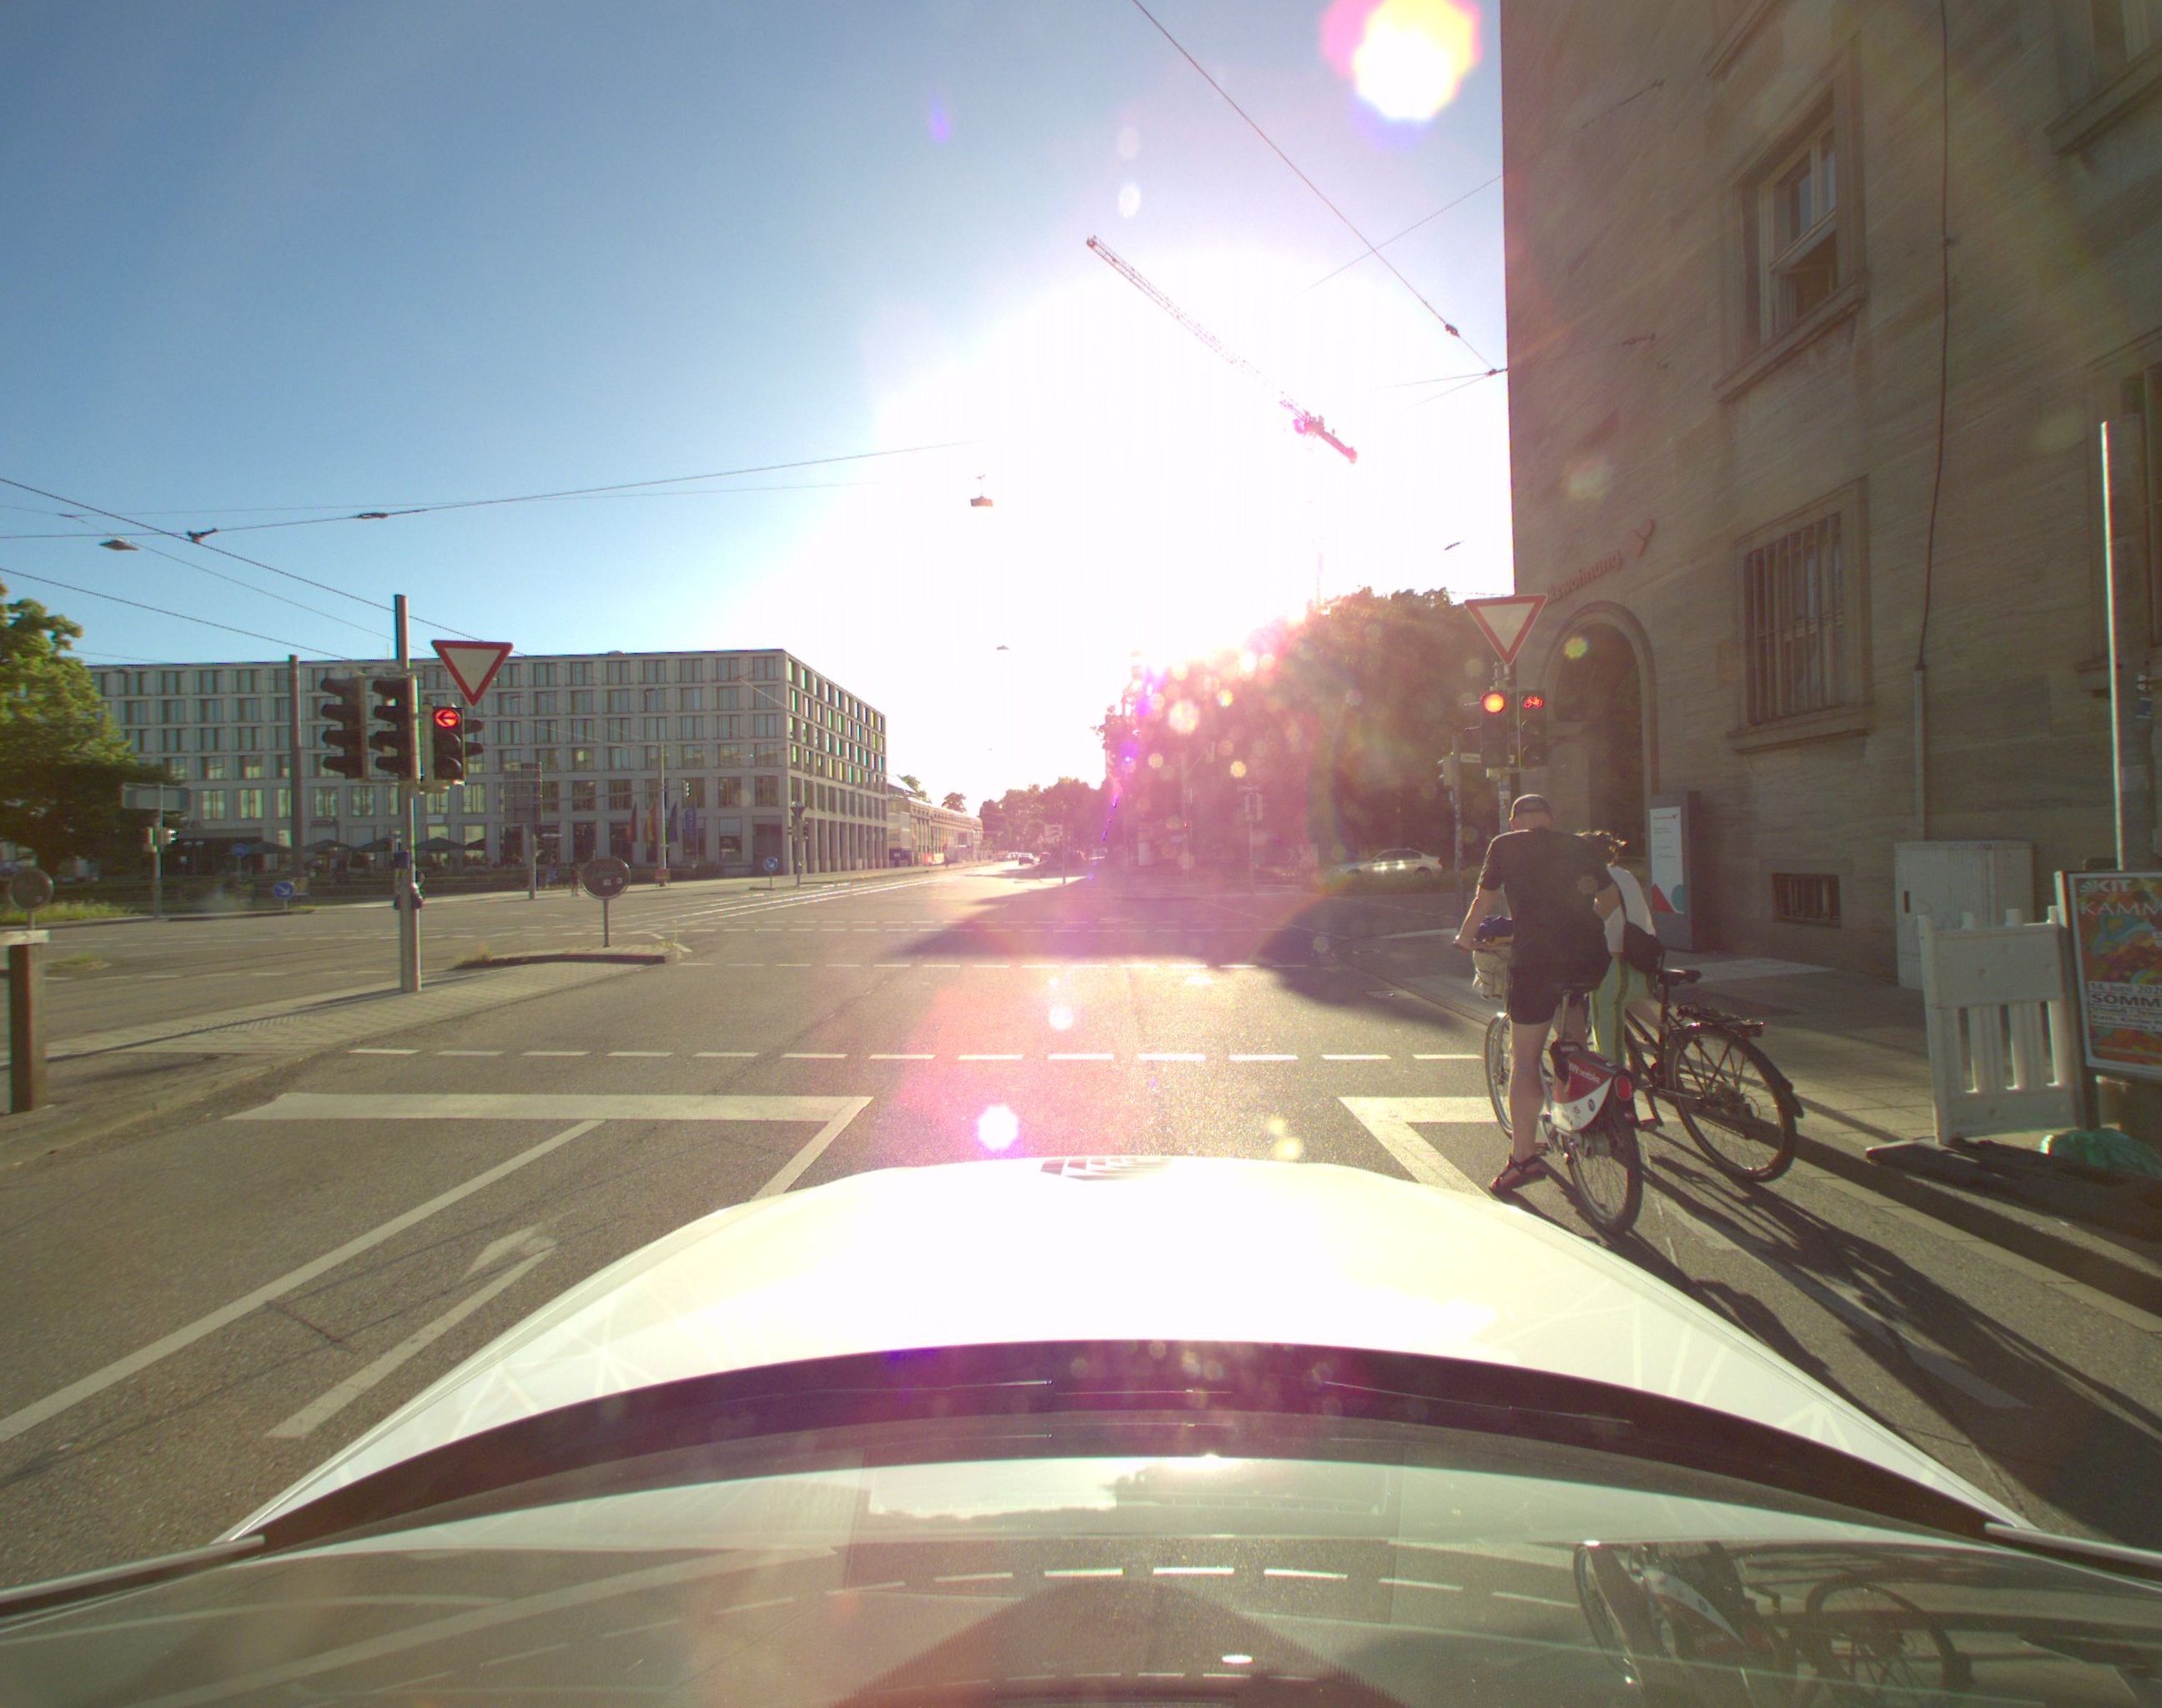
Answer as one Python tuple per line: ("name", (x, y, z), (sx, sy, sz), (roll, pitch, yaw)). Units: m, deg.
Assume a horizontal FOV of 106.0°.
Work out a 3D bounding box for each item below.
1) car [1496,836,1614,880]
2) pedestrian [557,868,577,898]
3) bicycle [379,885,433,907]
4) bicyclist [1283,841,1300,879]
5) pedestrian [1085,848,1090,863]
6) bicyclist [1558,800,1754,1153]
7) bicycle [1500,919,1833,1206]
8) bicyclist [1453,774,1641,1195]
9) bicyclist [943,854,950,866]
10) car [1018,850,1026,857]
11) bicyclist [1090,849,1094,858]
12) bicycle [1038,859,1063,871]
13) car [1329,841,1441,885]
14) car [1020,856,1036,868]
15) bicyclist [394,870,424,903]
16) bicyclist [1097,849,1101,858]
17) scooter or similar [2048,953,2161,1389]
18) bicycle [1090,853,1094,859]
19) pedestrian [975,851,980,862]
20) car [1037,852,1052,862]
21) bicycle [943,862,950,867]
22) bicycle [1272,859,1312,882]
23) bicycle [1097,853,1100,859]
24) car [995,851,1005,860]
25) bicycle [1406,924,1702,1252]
("car", (19.226, 0.156, 33.129), (3.835, 1.611, 1.650), (-2, 0, 1))
("pedestrian", (-28.761, 1.614, 45.565), (0.776, 1.589, 0.588), (-2, 0, -12))
("bicycle", (-32.757, 2.033, 39.550), (0.755, 0.935, 1.871), (-2, 0, 15))
("bicyclist", (9.381, 0.274, 36.345), (0.640, 1.683, 0.508), (-2, 0, 7))
("pedestrian", (0.755, 0.197, 97.841), (0.462, 1.813, 0.502), (-2, 0, -3))
("bicyclist", (2.958, 0.590, 4.242), (0.556, 1.691, 0.640), (-1, 0, 0))
("bicycle", (2.946, 0.957, 4.348), (0.532, 1.077, 1.751), (-1, 0, 1))
("bicyclist", (2.127, 0.559, 3.775), (0.556, 1.799, 0.551), (-1, 0, 3))
("bicyclist", (-15.135, 0.707, 91.648), (0.594, 1.377, 0.637), (0, -1, 0))
("car", (-14.219, -0.112, 195.319), (1.688, 1.718, 4.245), (0, -1, -1))
("bicyclist", (2.054, -0.126, 153.285), (0.567, 1.691, 0.700), (-2, 0, 1))
("bicycle", (-2.562, 0.907, 67.700), (1.996, 0.891, 0.655), (-4, -1, 29))
("car", (12.353, 0.351, 33.250), (3.979, 1.611, 1.650), (-2, 0, 1))
("car", (-6.588, 0.959, 101.137), (1.655, 1.455, 4.431), (-1, 0, 0))
("bicyclist", (-32.724, 1.569, 39.661), (0.753, 1.589, 0.781), (-2, 0, 19))
("bicyclist", (3.367, -0.084, 153.403), (0.567, 1.691, 0.700), (-2, 0, 1))
("scooter or similar", (3.280, 0.903, 1.866), (0.533, 1.185, 1.328), (-2, 0, 1))
("bicycle", (2.070, 0.337, 153.309), (0.573, 1.077, 1.831), (-2, 0, 1))
("pedestrian", (-19.013, 0.433, 149.659), (0.672, 2.014, 0.751), (0, -1, -1))
("car", (-5.938, 0.460, 133.478), (1.884, 1.565, 4.813), (1, 0, 4))
("bicycle", (-15.127, 1.144, 91.605), (0.499, 0.515, 1.258), (0, -1, 1))
("bicycle", (9.391, 0.739, 36.339), (1.657, 0.963, 0.535), (-2, 0, 7))
("bicycle", (3.367, 0.328, 153.366), (0.573, 1.077, 1.831), (-2, 0, 1))
("car", (-15.651, 0.269, 157.069), (1.688, 1.718, 4.245), (0, -1, -1))
("bicycle", (2.125, 0.956, 3.932), (0.513, 1.077, 1.729), (-1, 0, 4))
